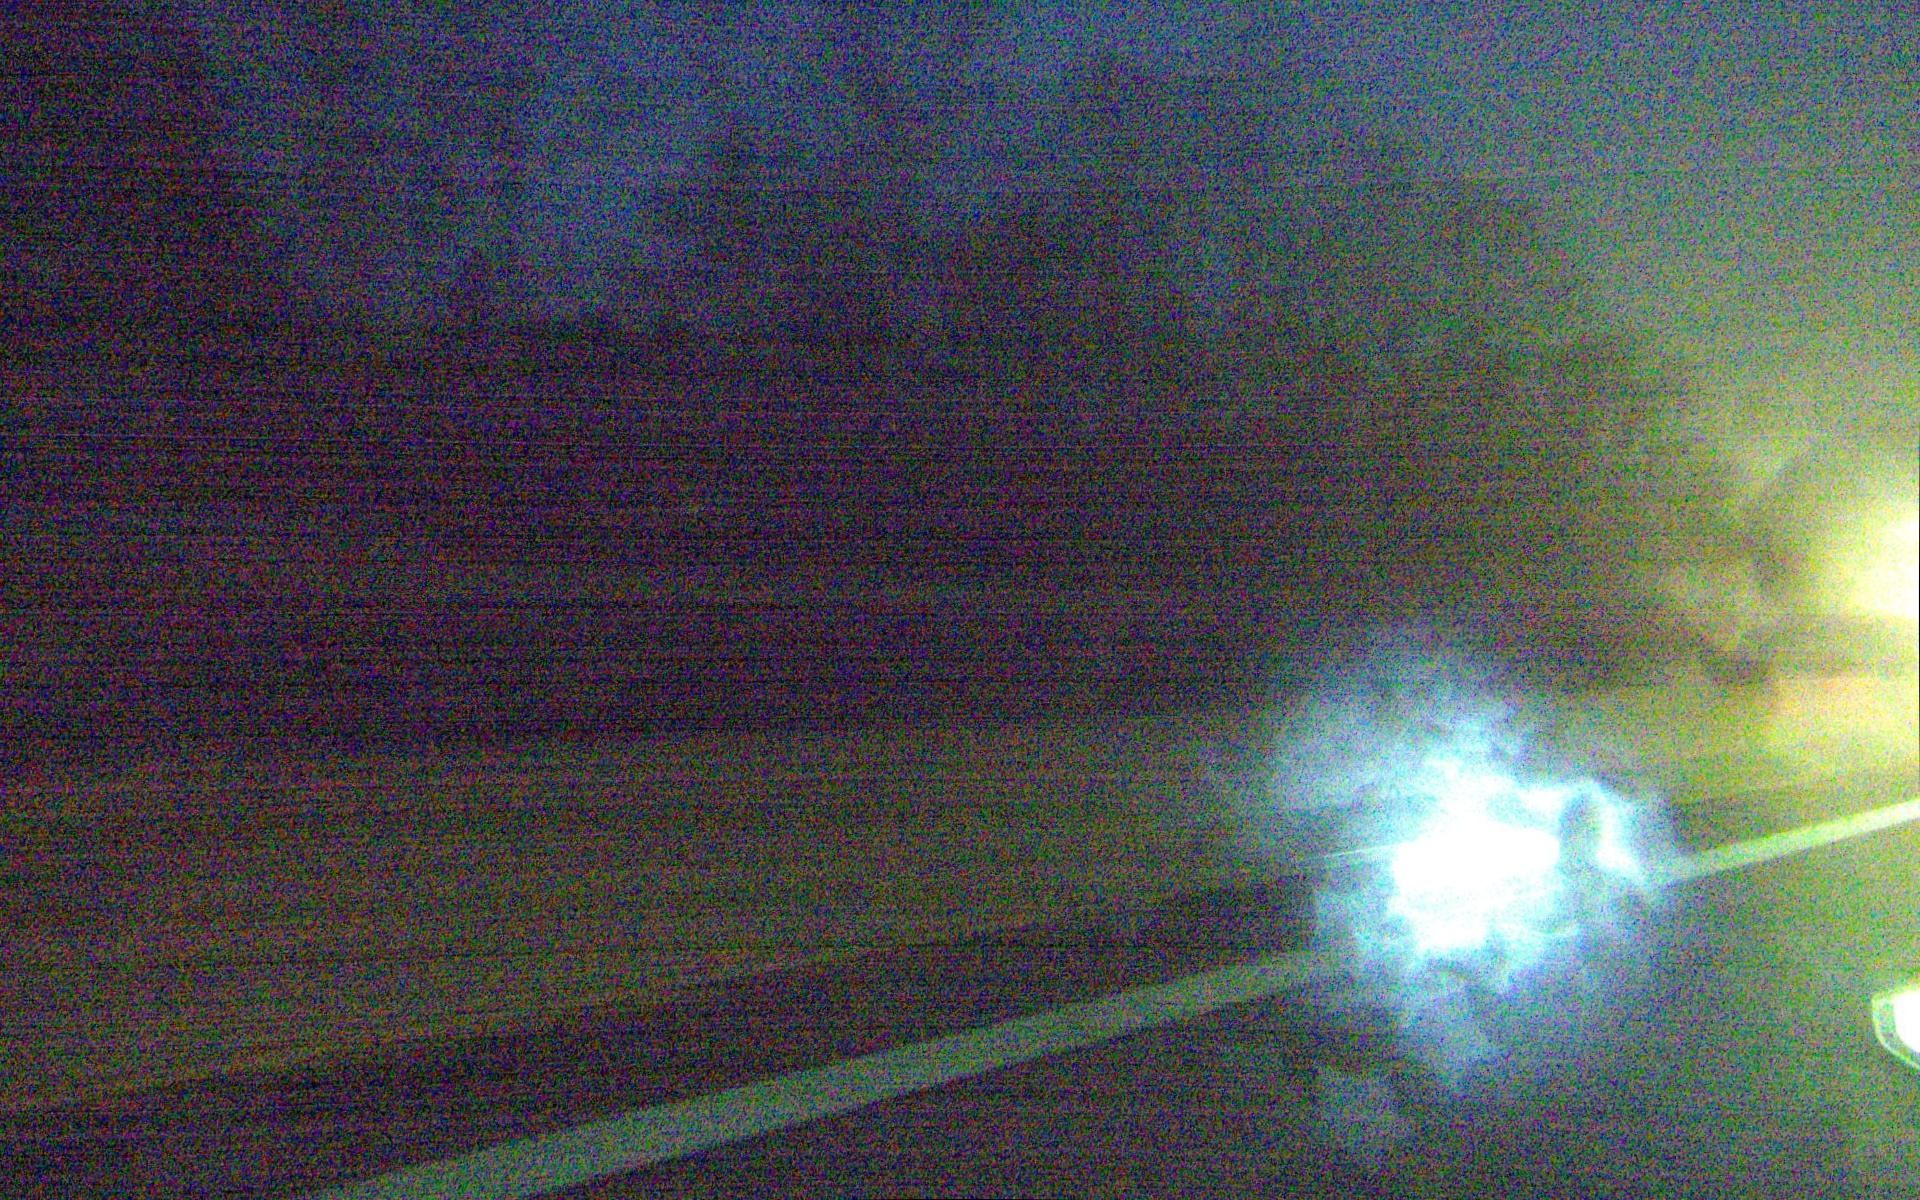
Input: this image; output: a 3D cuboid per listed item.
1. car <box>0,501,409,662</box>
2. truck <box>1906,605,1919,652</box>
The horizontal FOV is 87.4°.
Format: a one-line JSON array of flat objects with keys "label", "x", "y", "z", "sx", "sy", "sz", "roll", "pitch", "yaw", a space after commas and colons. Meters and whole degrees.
[{"label": "car", "x": -8.299, "y": -0.242, "z": 11.001, "sx": 3.953, "sy": 1.499, "sz": 1.983, "roll": 0, "pitch": 5, "yaw": -30}, {"label": "truck", "x": 111.585, "y": 3.296, "z": 115.987, "sx": 5.840, "sy": 5.167, "sz": 2.725, "roll": -2, "pitch": 6, "yaw": -43}]
